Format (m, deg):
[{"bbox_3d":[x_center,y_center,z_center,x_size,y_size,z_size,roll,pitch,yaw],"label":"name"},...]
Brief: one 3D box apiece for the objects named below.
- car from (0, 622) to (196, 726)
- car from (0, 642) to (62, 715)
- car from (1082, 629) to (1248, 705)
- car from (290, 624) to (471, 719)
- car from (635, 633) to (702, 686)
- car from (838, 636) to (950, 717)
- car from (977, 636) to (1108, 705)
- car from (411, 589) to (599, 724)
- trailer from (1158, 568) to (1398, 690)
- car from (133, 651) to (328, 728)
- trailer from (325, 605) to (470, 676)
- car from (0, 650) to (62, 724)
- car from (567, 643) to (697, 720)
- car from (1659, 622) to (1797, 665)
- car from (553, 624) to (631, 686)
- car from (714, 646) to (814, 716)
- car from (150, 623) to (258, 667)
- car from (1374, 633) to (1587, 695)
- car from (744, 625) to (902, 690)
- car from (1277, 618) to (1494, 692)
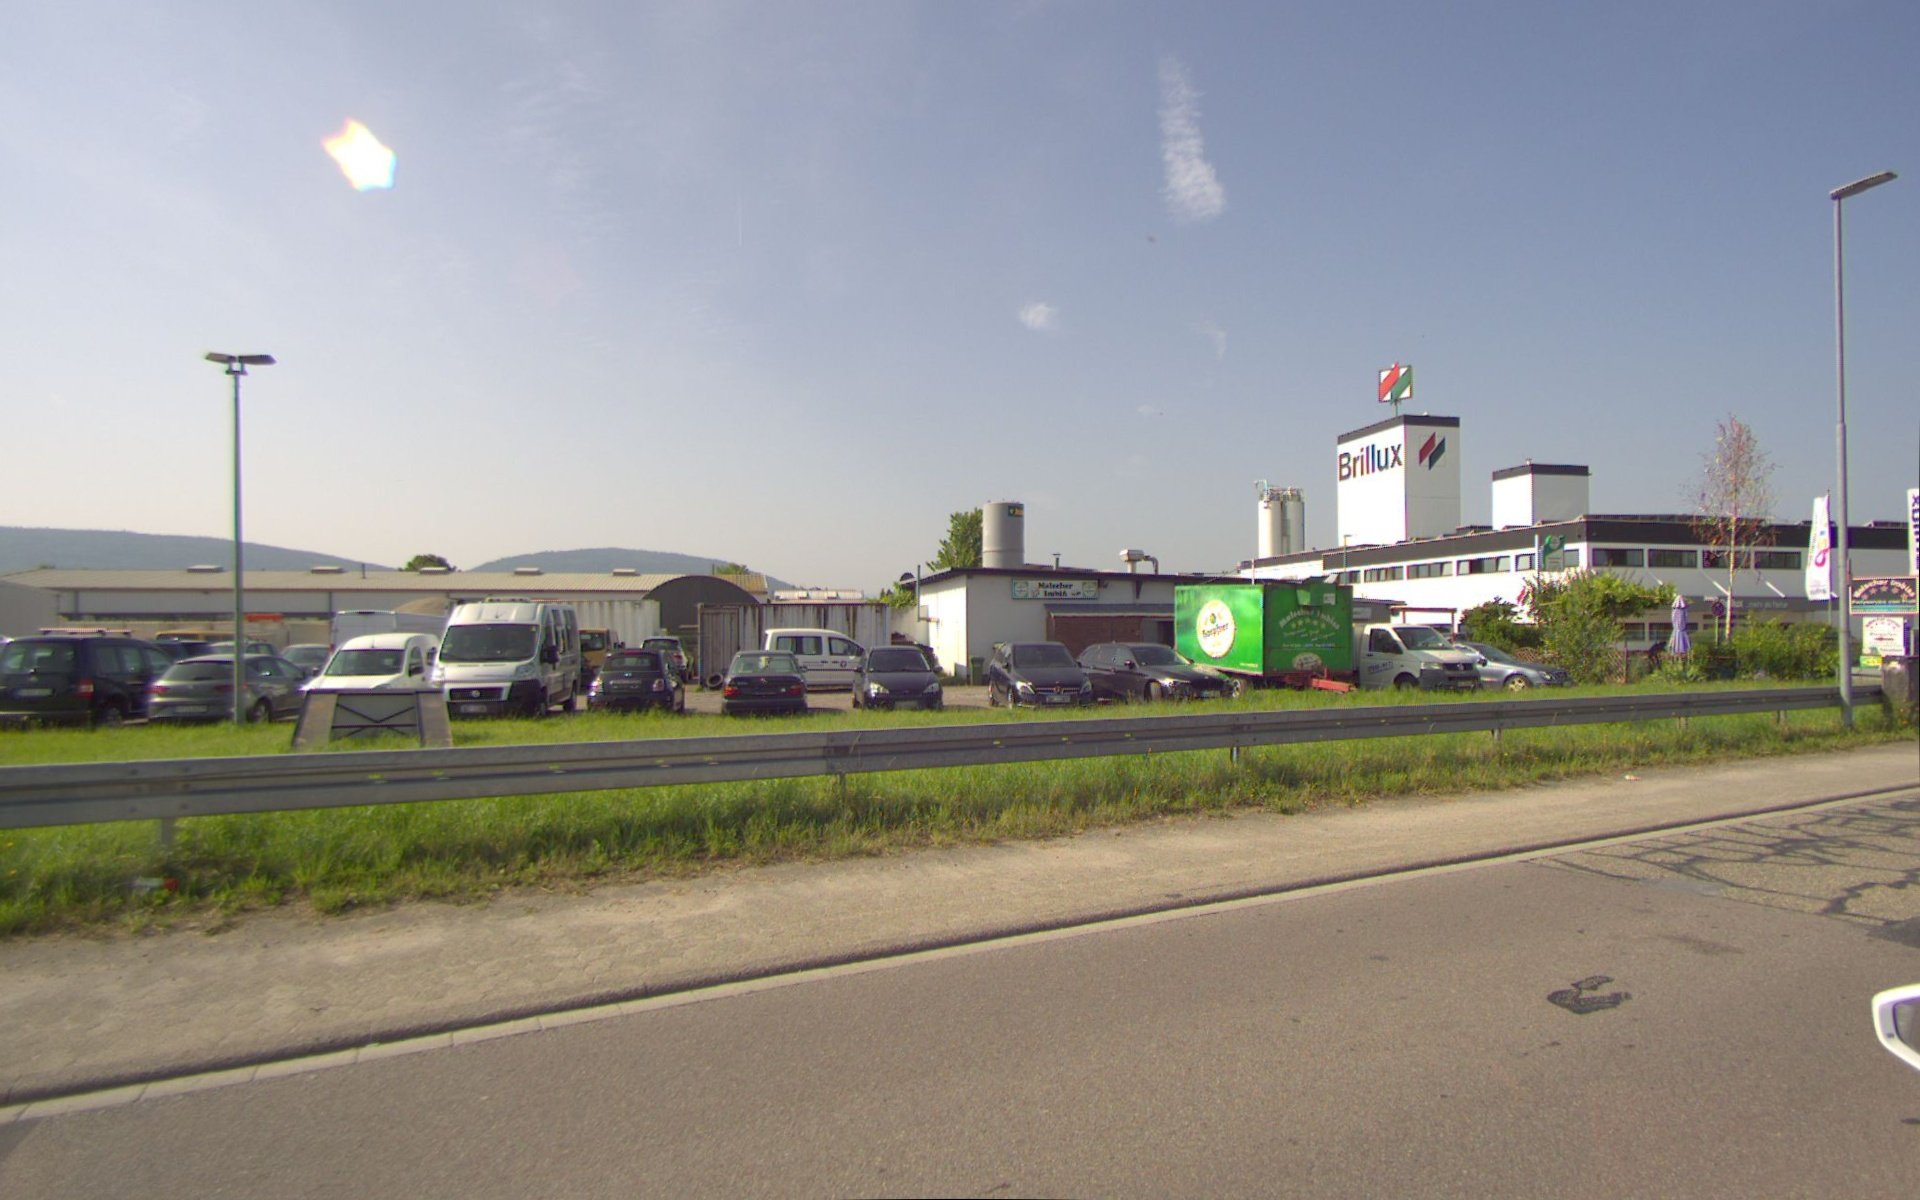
[{"bbox_3d":[-16.574,1.369,19.247,1.719,1.774,3.748,0,-3,-14],"label":"car"},{"bbox_3d":[-22.424,1.775,22.686,1.725,1.632,3.538,0,-3,-15],"label":"car"},{"bbox_3d":[4.691,1.544,23.955,2.138,1.554,5.137,-1,-3,-10],"label":"car"},{"bbox_3d":[-11.703,1.417,20.633,1.774,1.685,4.397,-1,-3,-10],"label":"car"},{"bbox_3d":[-10.496,2.141,36.434,1.965,1.772,3.993,0,-3,-11],"label":"car"},{"bbox_3d":[-1.608,1.637,22.514,1.989,1.554,5.137,-1,-3,-10],"label":"car"},{"bbox_3d":[1.714,1.541,22.699,1.747,1.335,4.960,-1,-3,-10],"label":"car"},{"bbox_3d":[-9.291,1.155,21.101,2.252,2.403,5.399,-1,-3,-10],"label":"car"},{"bbox_3d":[7.641,0.794,25.153,2.806,2.638,6.311,0,-3,-14],"label":"trailer"},{"bbox_3d":[-14.040,1.669,19.610,1.776,1.325,3.748,0,-3,-14],"label":"car"},{"bbox_3d":[-18.536,1.390,33.501,2.176,2.152,5.762,0,-3,-7],"label":"trailer"},{"bbox_3d":[-18.989,1.637,18.770,1.700,1.407,3.748,0,-3,-14],"label":"car"},{"bbox_3d":[-6.760,1.632,21.176,1.887,1.372,4.759,-1,-3,-10],"label":"car"},{"bbox_3d":[33.306,1.875,43.772,2.112,1.775,4.660,0,-2,-7],"label":"car"},{"bbox_3d":[-12.900,1.928,35.449,1.965,2.040,3.993,0,-3,-11],"label":"car"},{"bbox_3d":[-4.026,1.626,21.043,1.798,1.235,4.690,-1,-3,-10],"label":"car"},{"bbox_3d":[-26.679,1.593,35.589,1.734,1.483,3.657,0,-3,-14],"label":"car"},{"bbox_3d":[14.004,1.680,27.309,1.946,1.530,4.786,2,-3,-38],"label":"car"},{"bbox_3d":[-4.072,1.682,29.642,4.449,1.699,1.995,2,0,-12],"label":"car"},{"bbox_3d":[10.802,1.408,26.037,1.972,1.728,5.250,1,-3,-24],"label":"car"}]
